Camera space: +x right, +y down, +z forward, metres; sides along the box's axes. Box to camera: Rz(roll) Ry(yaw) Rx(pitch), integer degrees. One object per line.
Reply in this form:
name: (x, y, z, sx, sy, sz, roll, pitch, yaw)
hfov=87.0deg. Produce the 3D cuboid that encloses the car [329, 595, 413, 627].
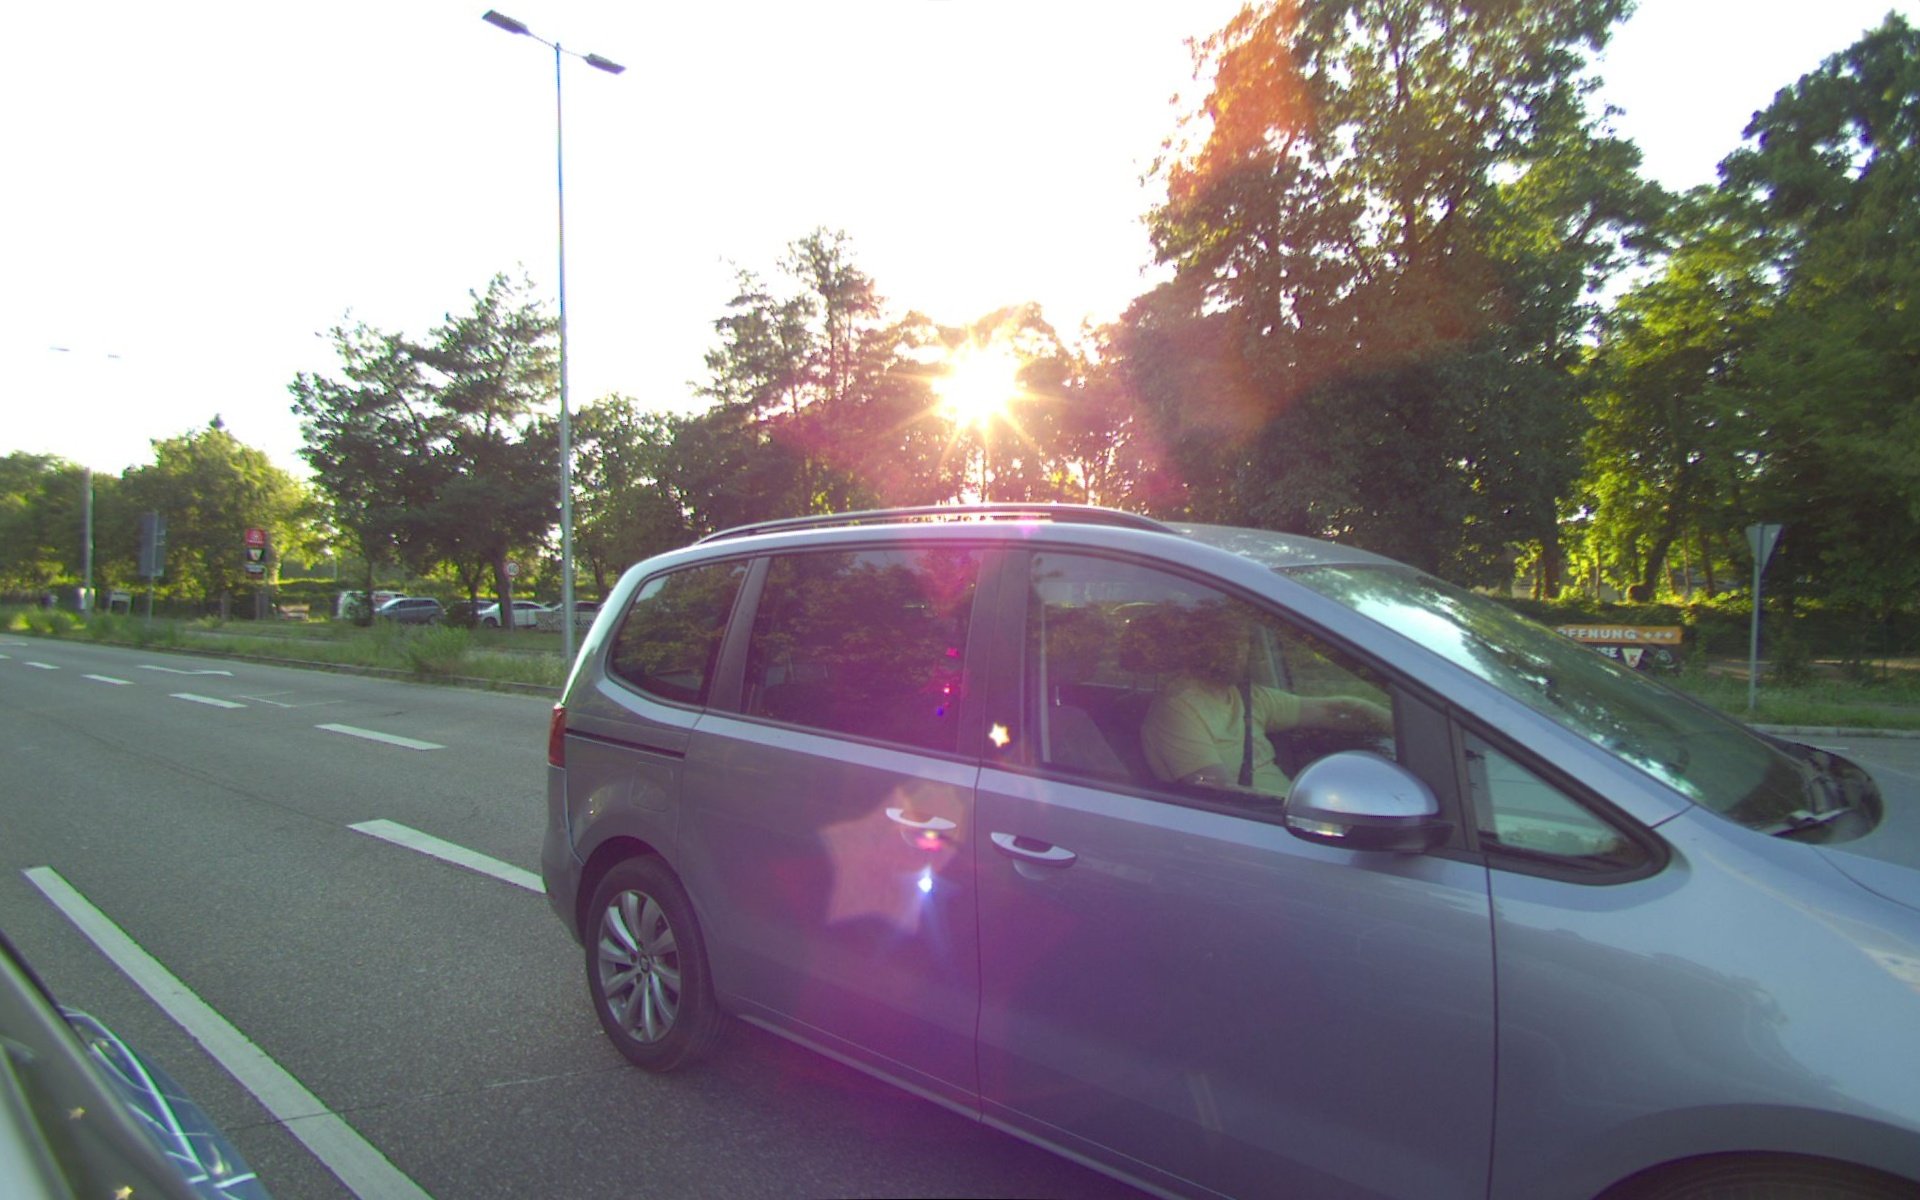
car: (-35.024, 0.661, 60.224, 1.824, 1.879, 3.946, 0, -1, 40)

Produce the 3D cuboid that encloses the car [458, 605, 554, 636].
car: (-23.050, 1.045, 51.515, 1.780, 1.490, 4.119, 0, -1, 37)

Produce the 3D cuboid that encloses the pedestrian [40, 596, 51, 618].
pedestrian: (-75.888, 0.573, 83.980, 0.676, 1.759, 0.560, -1, 0, 41)

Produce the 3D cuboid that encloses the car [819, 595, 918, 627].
car: (-4.295, 0.504, 47.334, 4.539, 1.417, 1.843, 0, -1, 36)

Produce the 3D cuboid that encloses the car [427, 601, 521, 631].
car: (-25.469, 0.830, 53.147, 1.780, 1.490, 4.119, 0, -1, 37)

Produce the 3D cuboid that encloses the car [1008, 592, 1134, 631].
car: (4.267, 0.433, 39.120, 4.539, 1.417, 1.843, 0, -1, 36)

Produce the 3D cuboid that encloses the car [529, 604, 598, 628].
car: (-24.646, 0.992, 62.844, 4.539, 1.417, 1.843, 0, -1, 36)

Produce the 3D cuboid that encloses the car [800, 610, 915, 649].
car: (-3.792, 1.046, 37.035, 3.992, 1.342, 1.843, 0, -1, 36)

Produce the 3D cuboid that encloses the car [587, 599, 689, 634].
car: (-14.419, 0.737, 45.512, 1.997, 1.464, 3.950, 0, -1, 37)

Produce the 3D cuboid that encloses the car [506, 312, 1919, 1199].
car: (0.772, 0.548, 2.774, 4.657, 1.738, 1.847, -1, -2, 41)

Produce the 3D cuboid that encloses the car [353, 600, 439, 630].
car: (-32.502, 0.854, 58.424, 1.824, 1.649, 3.946, 0, -1, 40)

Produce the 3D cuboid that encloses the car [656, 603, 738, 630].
car: (-14.311, 0.900, 55.014, 4.539, 1.417, 1.843, 0, -1, 36)

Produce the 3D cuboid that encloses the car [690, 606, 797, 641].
car: (-8.777, 0.929, 40.885, 4.490, 1.334, 1.659, 0, -1, 36)

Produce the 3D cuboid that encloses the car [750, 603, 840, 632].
car: (-8.337, 0.849, 50.984, 4.539, 1.417, 1.843, 0, -1, 36)

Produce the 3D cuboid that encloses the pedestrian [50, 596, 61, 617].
pedestrian: (-75.502, 0.551, 84.461, 0.676, 1.788, 0.560, -1, 0, 41)

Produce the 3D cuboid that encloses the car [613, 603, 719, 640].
car: (-12.308, 0.900, 42.573, 1.761, 1.490, 3.995, 0, -1, 41)
